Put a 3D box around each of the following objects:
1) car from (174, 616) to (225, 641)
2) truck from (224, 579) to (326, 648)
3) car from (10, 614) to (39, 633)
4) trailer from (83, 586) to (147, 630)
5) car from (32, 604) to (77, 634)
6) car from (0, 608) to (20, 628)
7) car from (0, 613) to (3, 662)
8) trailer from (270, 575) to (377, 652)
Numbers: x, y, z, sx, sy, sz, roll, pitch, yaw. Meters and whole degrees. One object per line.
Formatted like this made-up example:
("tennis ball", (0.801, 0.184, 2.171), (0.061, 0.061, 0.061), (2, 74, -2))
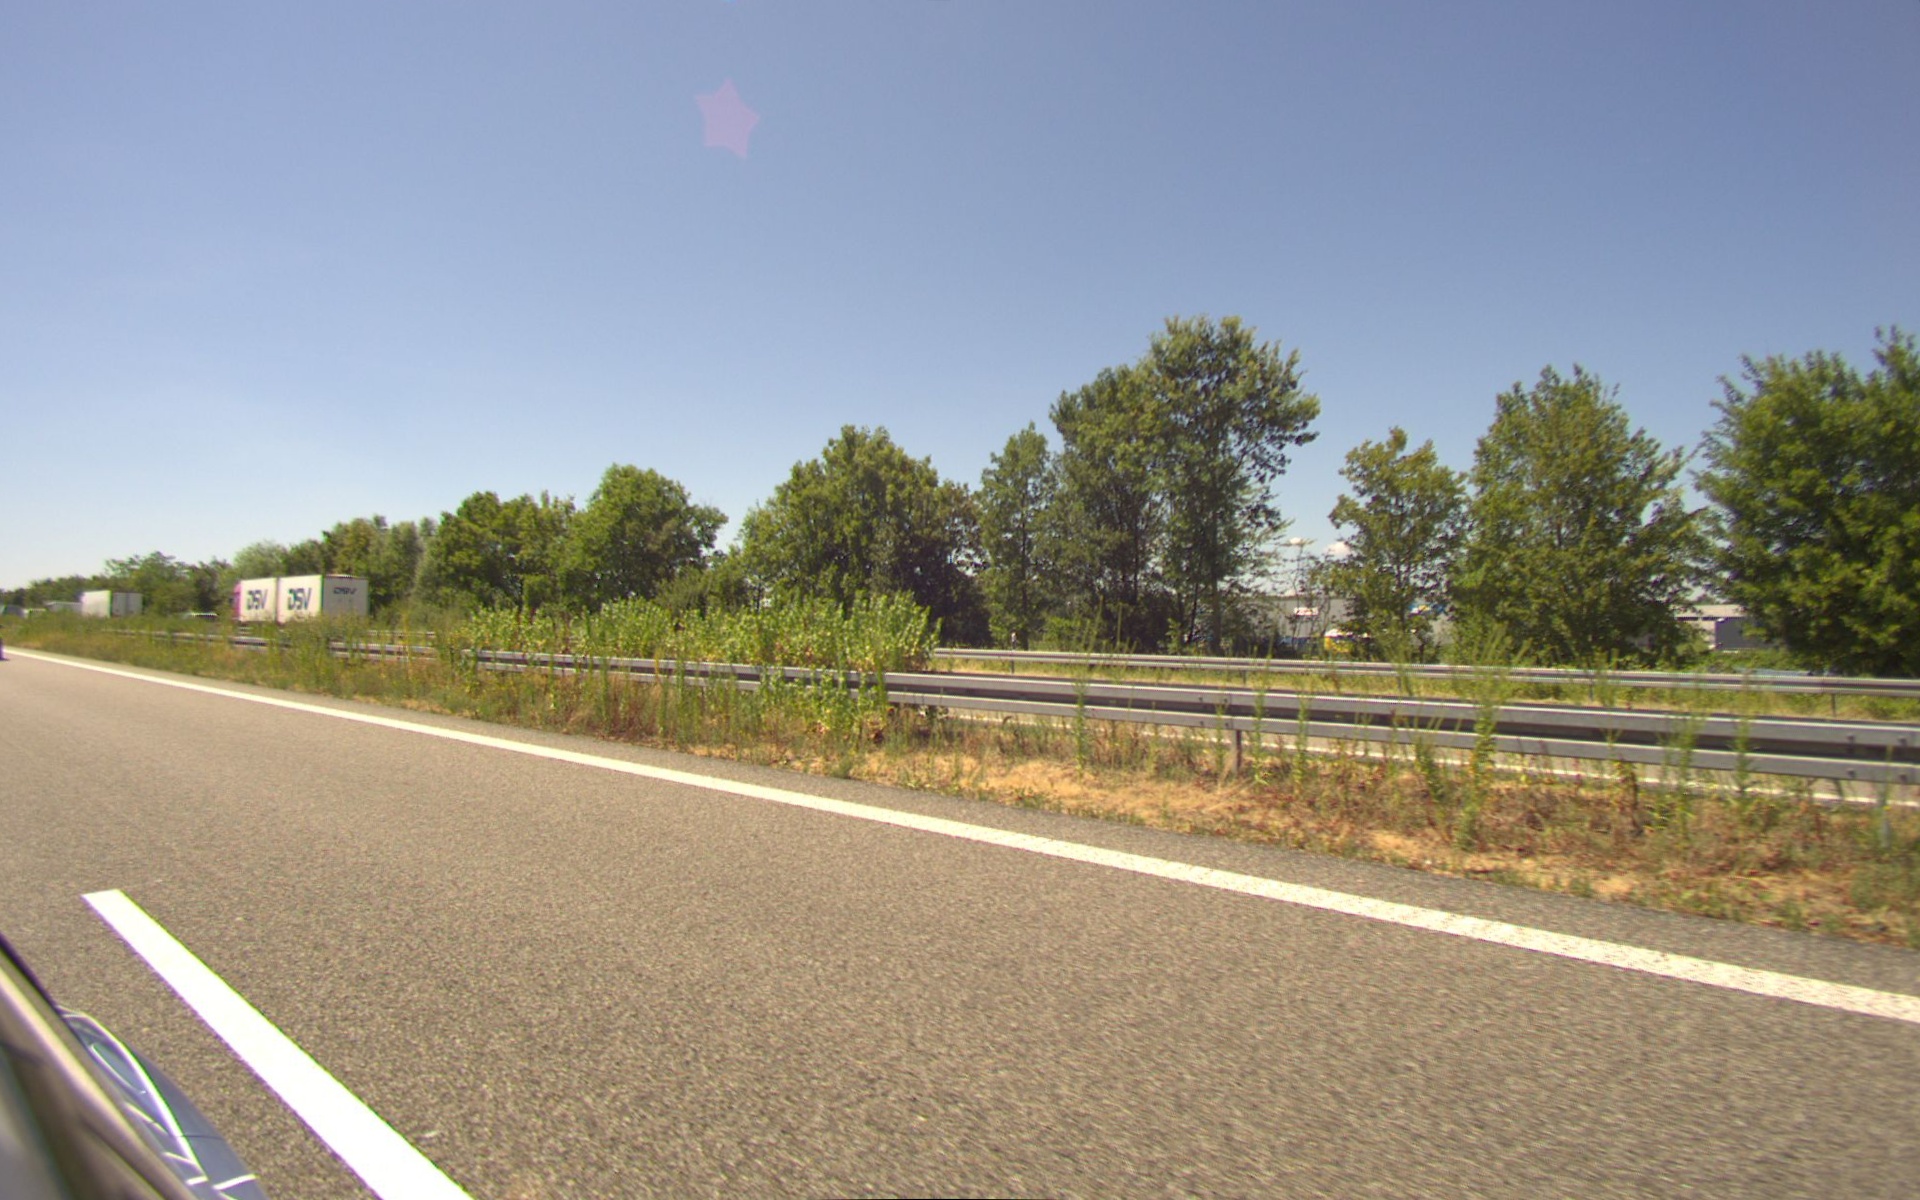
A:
("car", (-47.275, 1.757, 62.901), (4.039, 1.453, 1.590), (-2, -1, 39))
("truck", (-45.863, 0.976, 67.596), (10.622, 4.343, 3.039), (-2, -1, 42))
("car", (-122.697, 3.075, 132.771), (6.011, 2.482, 2.081), (-1, -2, 41))
("trailer", (-84.574, 0.894, 101.213), (12.227, 4.070, 3.016), (-2, -2, 41))
("car", (-88.625, 1.869, 99.025), (6.601, 2.844, 2.305), (-1, -2, 39))
("car", (-116.997, 2.244, 123.867), (5.293, 2.380, 2.187), (-1, -2, 40))
("car", (-30.492, 1.174, 30.723), (3.998, 1.453, 1.714), (-2, -1, 41))
("trailer", (-38.532, 0.915, 61.110), (9.026, 4.358, 3.016), (-2, -2, 41))
